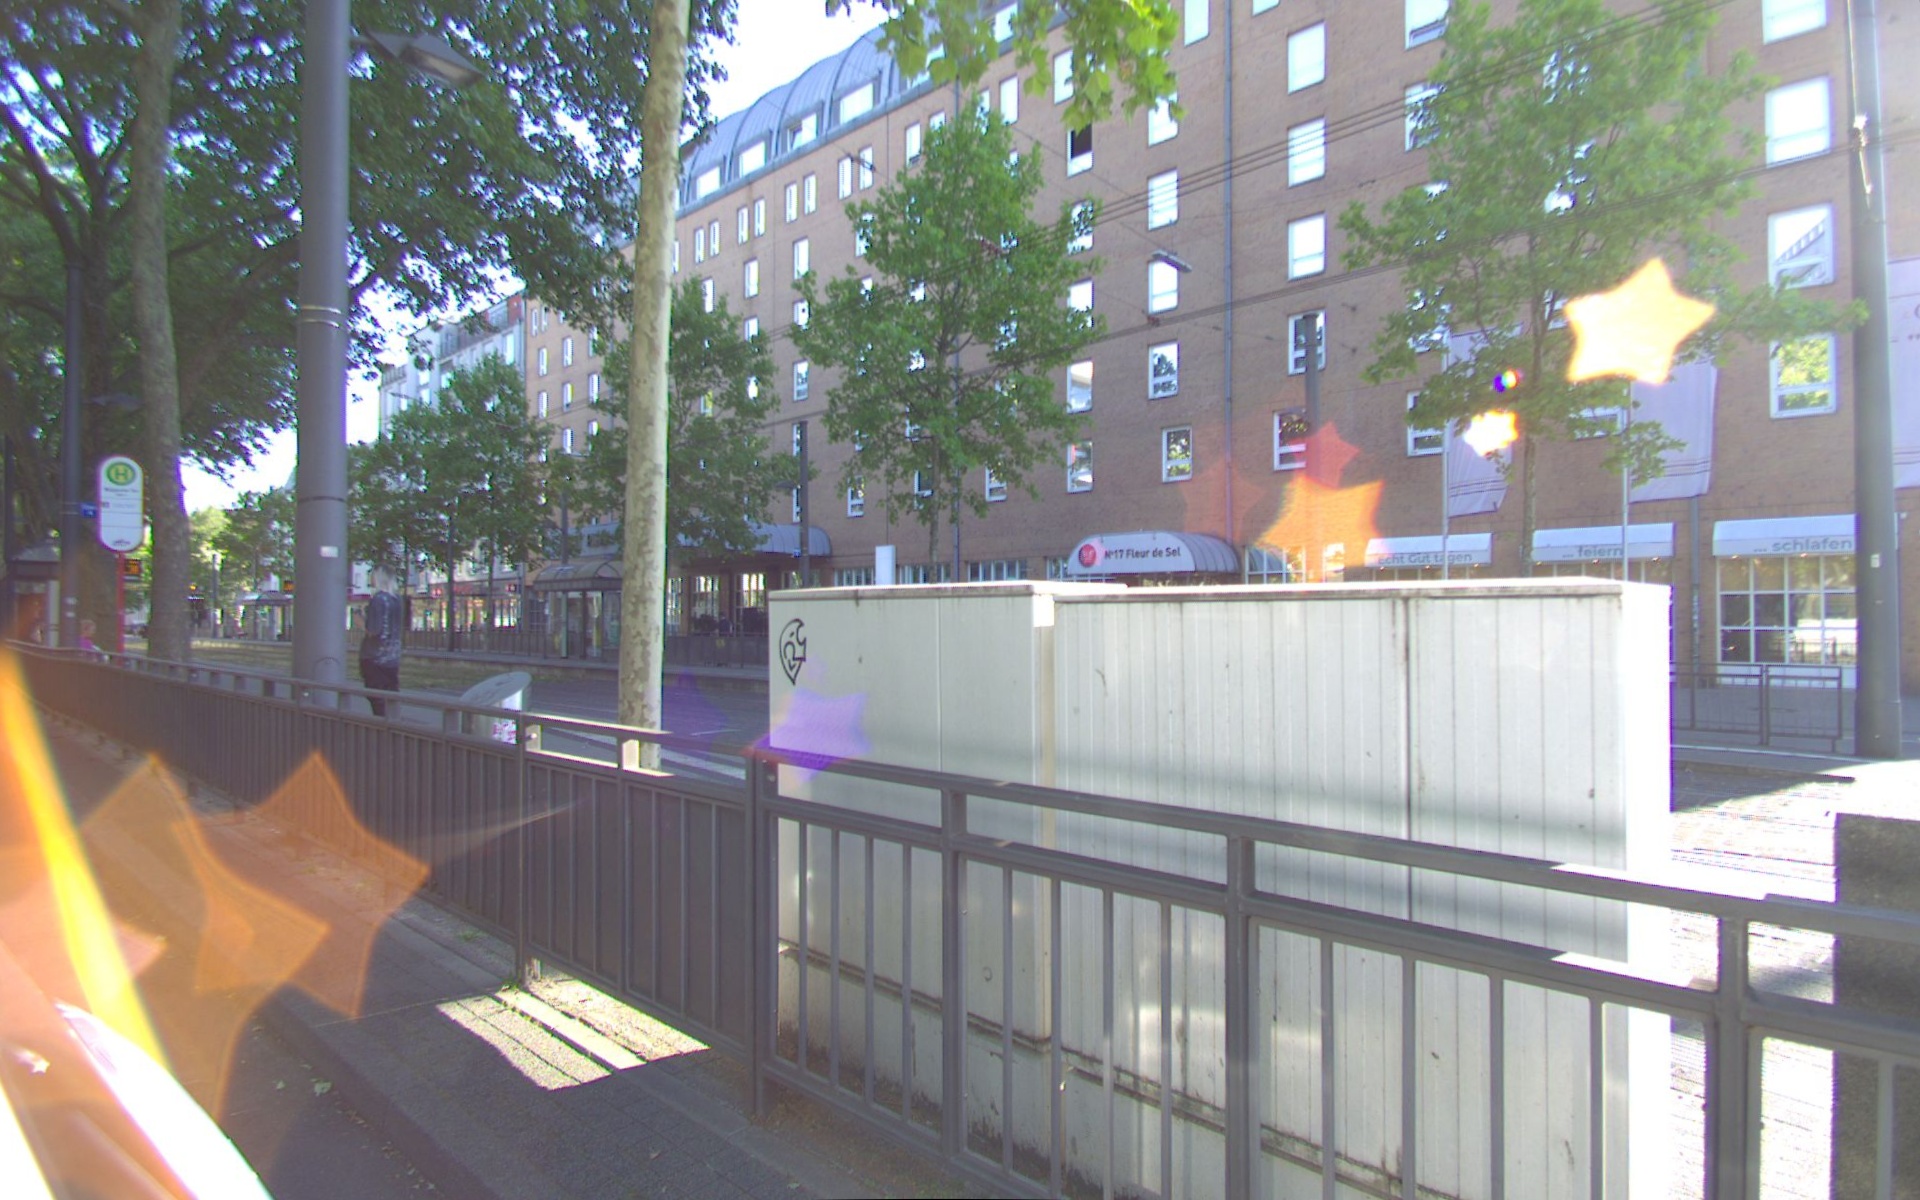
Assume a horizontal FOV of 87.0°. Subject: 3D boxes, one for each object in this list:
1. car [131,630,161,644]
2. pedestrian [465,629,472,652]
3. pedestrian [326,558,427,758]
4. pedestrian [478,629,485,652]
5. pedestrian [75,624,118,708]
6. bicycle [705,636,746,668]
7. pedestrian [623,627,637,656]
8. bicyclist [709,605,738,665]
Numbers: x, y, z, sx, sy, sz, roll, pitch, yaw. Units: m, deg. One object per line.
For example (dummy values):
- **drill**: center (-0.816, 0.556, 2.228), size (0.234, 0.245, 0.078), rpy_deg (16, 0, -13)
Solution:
- **car**: center (-88.734, 4.017, 110.299), size (3.999, 1.530, 1.972), rpy_deg (-1, -2, 42)
- **pedestrian**: center (-32.390, 2.659, 66.699), size (0.431, 1.518, 0.660), rpy_deg (1, -2, -27)
- **pedestrian**: center (-5.781, 0.546, 10.038), size (0.620, 1.897, 0.601), rpy_deg (1, 0, 26)
- **pedestrian**: center (-31.717, 2.671, 67.083), size (0.431, 1.532, 0.660), rpy_deg (1, -2, -27)
- **pedestrian**: center (-13.949, 1.058, 16.352), size (0.493, 1.325, 0.419), rpy_deg (1, -2, -41)
- **bicycle**: center (-7.591, 1.663, 32.677), size (0.444, 1.012, 1.754), rpy_deg (2, -2, -44)
- **pedestrian**: center (-16.846, 2.113, 51.652), size (0.516, 1.447, 0.512), rpy_deg (-2, -2, 44)
- **bicyclist**: center (-7.608, 1.129, 32.601), size (0.564, 1.918, 0.814), rpy_deg (2, -2, -43)
